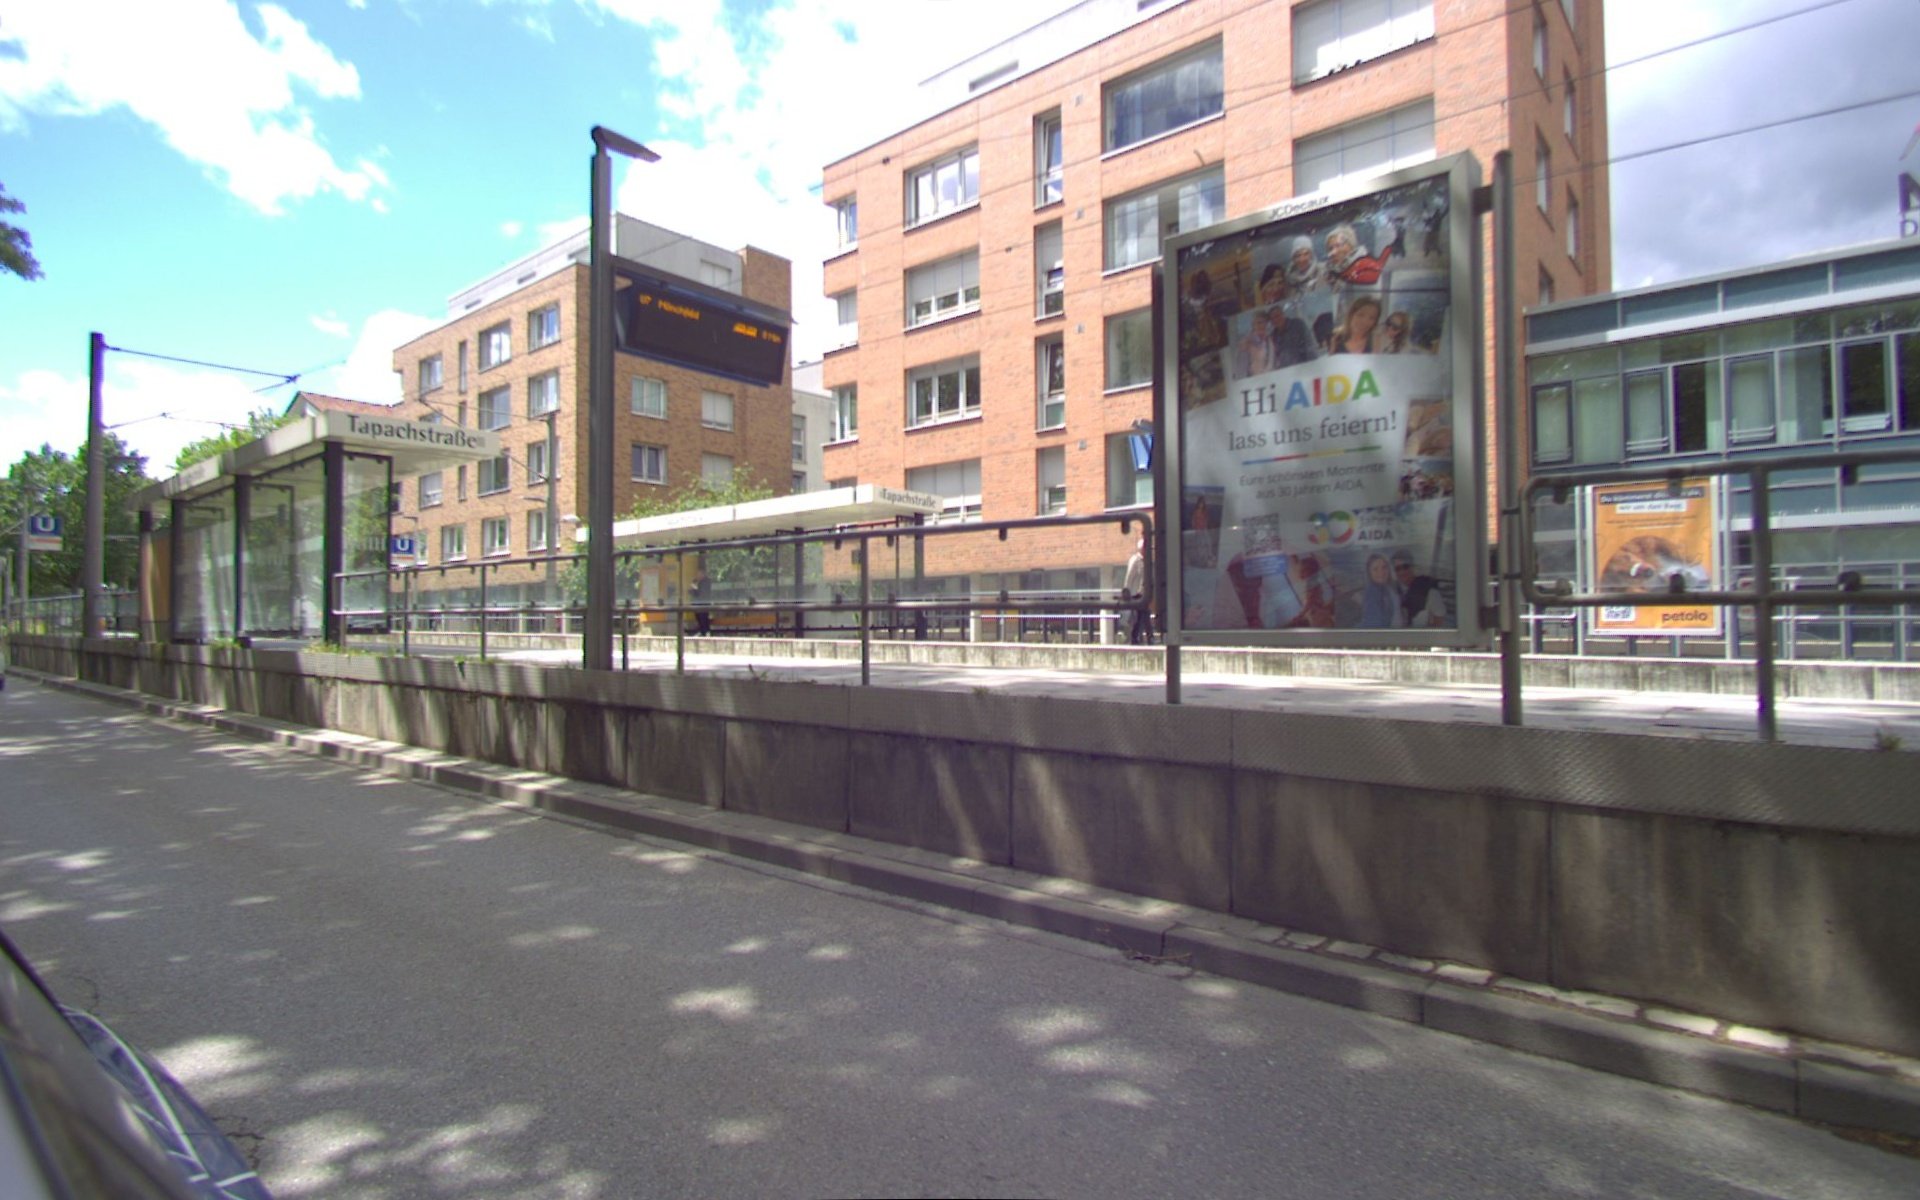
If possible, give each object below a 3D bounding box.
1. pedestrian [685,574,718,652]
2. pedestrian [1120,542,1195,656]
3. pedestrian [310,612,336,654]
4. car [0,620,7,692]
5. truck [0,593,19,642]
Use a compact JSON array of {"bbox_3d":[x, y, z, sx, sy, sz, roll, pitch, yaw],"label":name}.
[{"bbox_3d":[-5.960,0.310,23.343,0.527,1.777,0.529,-1,-2,37],"label":"pedestrian"},{"bbox_3d":[2.940,-0.007,15.091,0.815,1.641,0.743,-2,-1,40],"label":"pedestrian"},{"bbox_3d":[-28.066,1.449,44.608,0.828,1.839,0.736,-2,-3,39],"label":"pedestrian"},{"bbox_3d":[-20.828,1.149,20.504,3.747,1.406,1.715,-1,0,39],"label":"car"},{"bbox_3d":[-83.840,1.362,83.190,2.606,4.124,9.564,-1,-2,14],"label":"truck"}]
